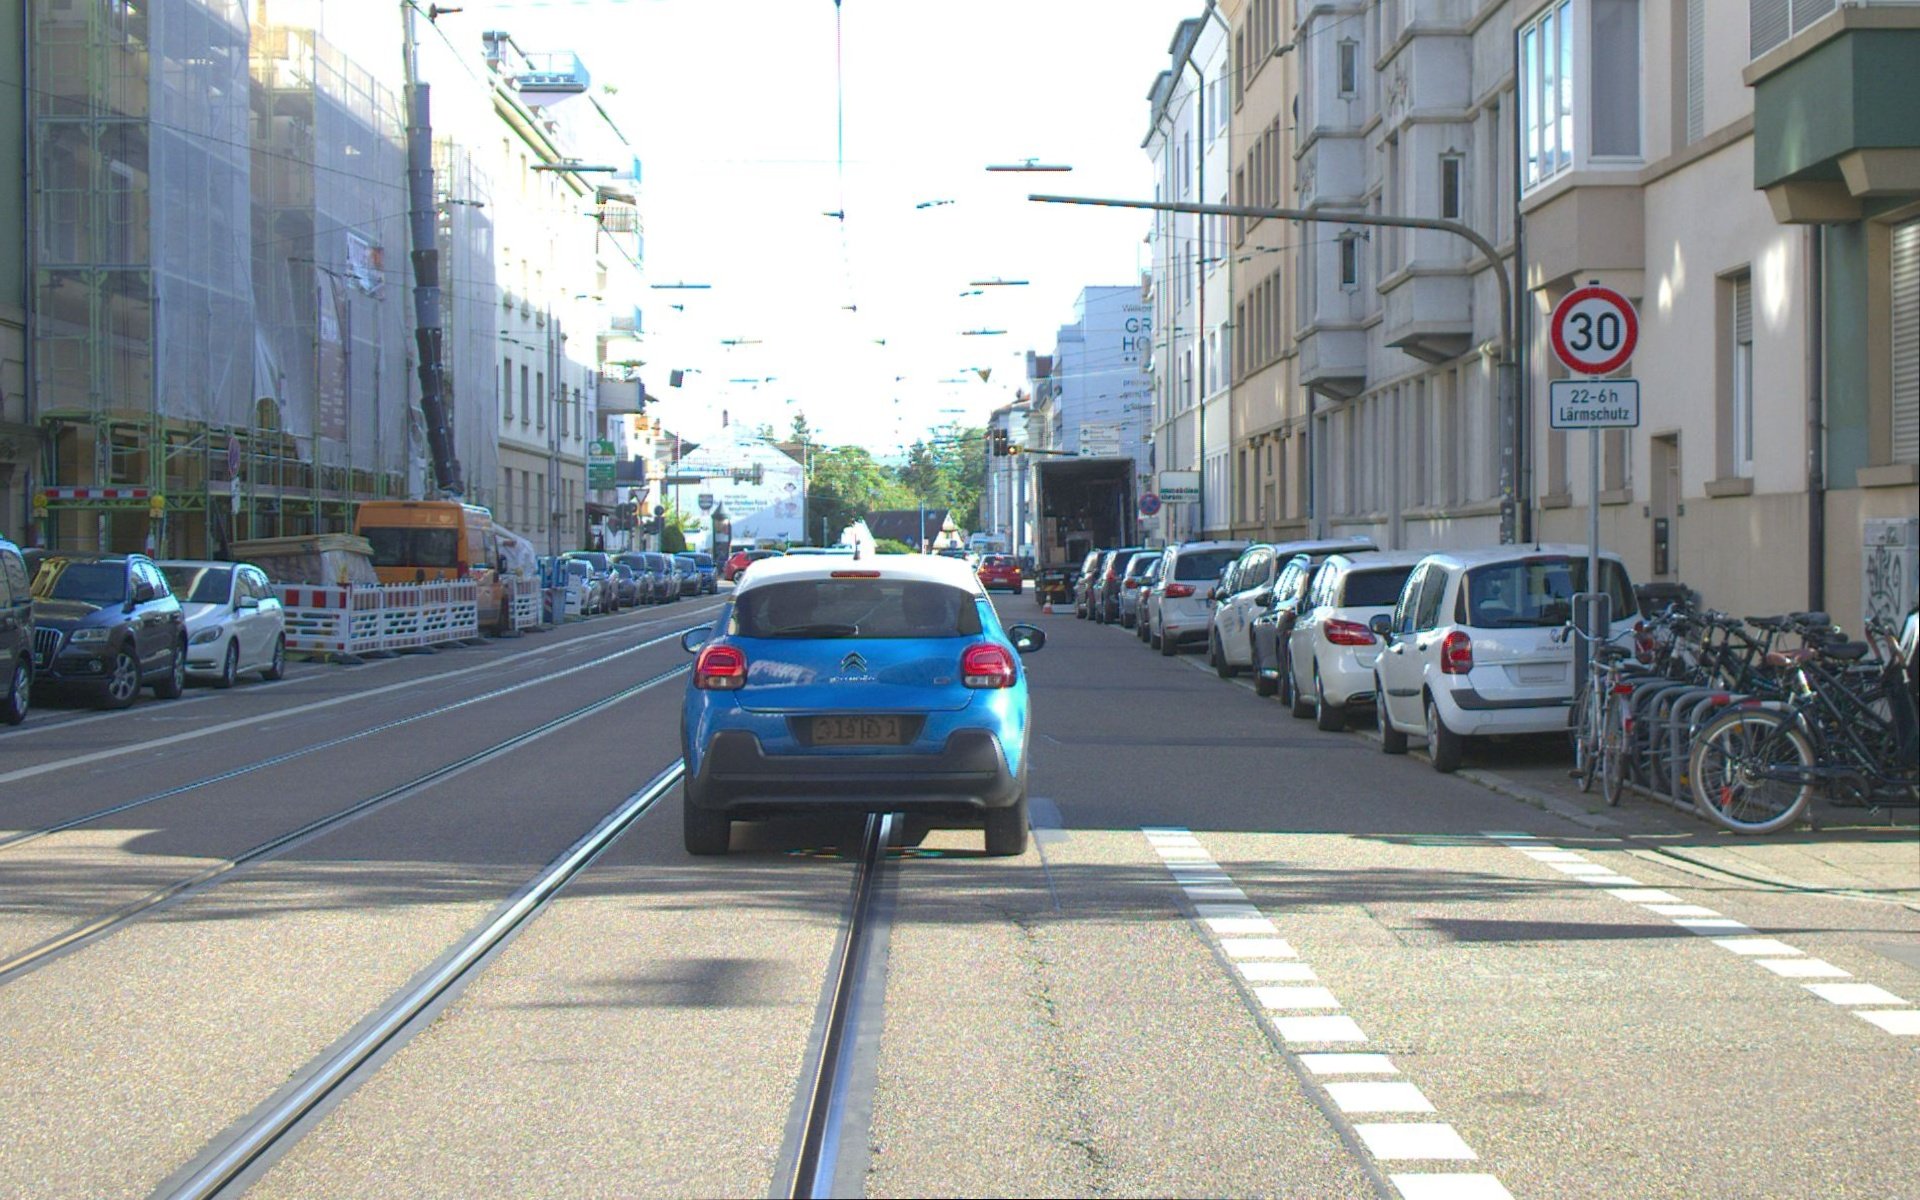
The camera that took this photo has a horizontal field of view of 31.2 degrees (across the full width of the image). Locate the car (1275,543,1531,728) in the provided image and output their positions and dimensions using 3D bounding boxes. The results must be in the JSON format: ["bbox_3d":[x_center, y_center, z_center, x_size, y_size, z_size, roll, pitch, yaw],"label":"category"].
[{"bbox_3d":[3.981,0.271,31.539,1.783,1.570,4.326,0,1,0],"label":"car"}]

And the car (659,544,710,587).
[{"bbox_3d":[-10.625,-1.352,132.776,1.826,1.626,3.906,0,1,-3],"label":"car"}]

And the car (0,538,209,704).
[{"bbox_3d":[-9.426,0.173,37.063,1.783,1.621,4.610,2,1,-2],"label":"car"}]

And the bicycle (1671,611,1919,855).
[{"bbox_3d":[4.834,0.657,17.797,2.086,1.150,0.848,-3,1,1],"label":"bicycle"}]

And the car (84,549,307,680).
[{"bbox_3d":[-9.563,0.144,43.312,1.718,1.497,4.388,2,1,1],"label":"car"}]

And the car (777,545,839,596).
[{"bbox_3d":[-4.978,-0.992,112.990,1.826,1.626,4.490,0,1,0],"label":"car"}]

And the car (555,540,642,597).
[{"bbox_3d":[-10.627,-0.942,101.306,2.144,1.616,4.000,-1,1,-1],"label":"car"}]

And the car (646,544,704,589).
[{"bbox_3d":[-10.506,-1.237,126.871,1.826,1.626,3.905,0,1,0],"label":"car"}]

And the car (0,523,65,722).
[{"bbox_3d":[-9.669,0.187,31.255,1.783,1.810,4.528,2,1,1],"label":"car"}]

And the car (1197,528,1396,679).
[{"bbox_3d":[4.095,0.002,42.453,1.654,1.746,4.604,0,1,-5],"label":"car"}]

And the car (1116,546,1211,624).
[{"bbox_3d":[4.111,-0.326,69.984,1.664,1.514,4.222,0,1,0],"label":"car"}]

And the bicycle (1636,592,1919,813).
[{"bbox_3d":[4.816,0.578,19.721,1.722,1.150,0.469,-3,1,1],"label":"bicycle"}]

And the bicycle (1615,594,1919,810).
[{"bbox_3d":[4.798,0.595,20.269,1.722,1.150,0.469,-3,1,1],"label":"bicycle"}]

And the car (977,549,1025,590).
[{"bbox_3d":[1.533,-1.169,129.862,1.765,1.481,4.032,0,1,0],"label":"car"}]

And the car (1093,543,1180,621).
[{"bbox_3d":[3.818,-0.423,74.828,1.664,1.641,4.222,0,1,0],"label":"car"}]

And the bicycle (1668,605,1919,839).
[{"bbox_3d":[4.808,0.635,18.485,1.843,1.150,0.469,-3,1,1],"label":"bicycle"}]

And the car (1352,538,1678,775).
[{"bbox_3d":[4.052,0.358,25.694,1.783,1.626,4.000,0,1,0],"label":"car"}]

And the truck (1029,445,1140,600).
[{"bbox_3d":[3.410,-2.144,96.531,2.853,4.069,11.271,0,1,1],"label":"truck"}]

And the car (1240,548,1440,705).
[{"bbox_3d":[3.992,0.238,36.701,1.655,1.561,4.338,0,1,0],"label":"car"}]

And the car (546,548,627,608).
[{"bbox_3d":[-10.108,-0.621,93.327,1.714,1.588,4.267,0,1,0],"label":"car"}]

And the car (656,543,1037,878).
[{"bbox_3d":[-0.533,0.483,18.061,1.735,1.502,3.992,2,1,0],"label":"car"}]

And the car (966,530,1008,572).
[{"bbox_3d":[1.471,-2.685,188.805,2.220,2.276,4.084,0,1,0],"label":"car"}]

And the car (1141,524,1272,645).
[{"bbox_3d":[3.866,-0.270,54.588,1.730,1.821,4.686,0,1,0],"label":"car"}]

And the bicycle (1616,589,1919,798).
[{"bbox_3d":[4.934,0.561,20.948,1.722,1.150,0.469,-3,1,1],"label":"bicycle"}]

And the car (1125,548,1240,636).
[{"bbox_3d":[3.868,-0.165,60.285,1.722,1.481,4.222,0,1,0],"label":"car"}]

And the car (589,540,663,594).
[{"bbox_3d":[-10.366,-1.049,107.079,1.826,1.626,4.849,0,1,0],"label":"car"}]

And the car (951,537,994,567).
[{"bbox_3d":[0.652,-2.470,176.170,2.180,1.481,4.160,0,1,0],"label":"car"}]

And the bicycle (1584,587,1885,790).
[{"bbox_3d":[4.847,0.551,21.570,1.722,1.150,0.469,-3,1,1],"label":"bicycle"}]

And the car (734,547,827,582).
[{"bbox_3d":[-7.880,-1.562,150.873,4.017,1.481,1.761,0,1,-4],"label":"car"}]

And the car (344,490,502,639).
[{"bbox_3d":[-9.388,-0.641,60.483,2.144,2.467,4.981,1,1,-2],"label":"car"}]

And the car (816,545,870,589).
[{"bbox_3d":[-4.454,-1.275,131.164,1.901,1.626,4.267,0,1,0],"label":"car"}]

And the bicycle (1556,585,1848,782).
[{"bbox_3d":[4.778,0.532,22.197,1.722,1.150,0.469,-3,1,1],"label":"bicycle"}]

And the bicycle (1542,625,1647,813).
[{"bbox_3d":[3.816,0.695,20.755,0.353,1.041,1.728,0,1,1],"label":"bicycle"}]
